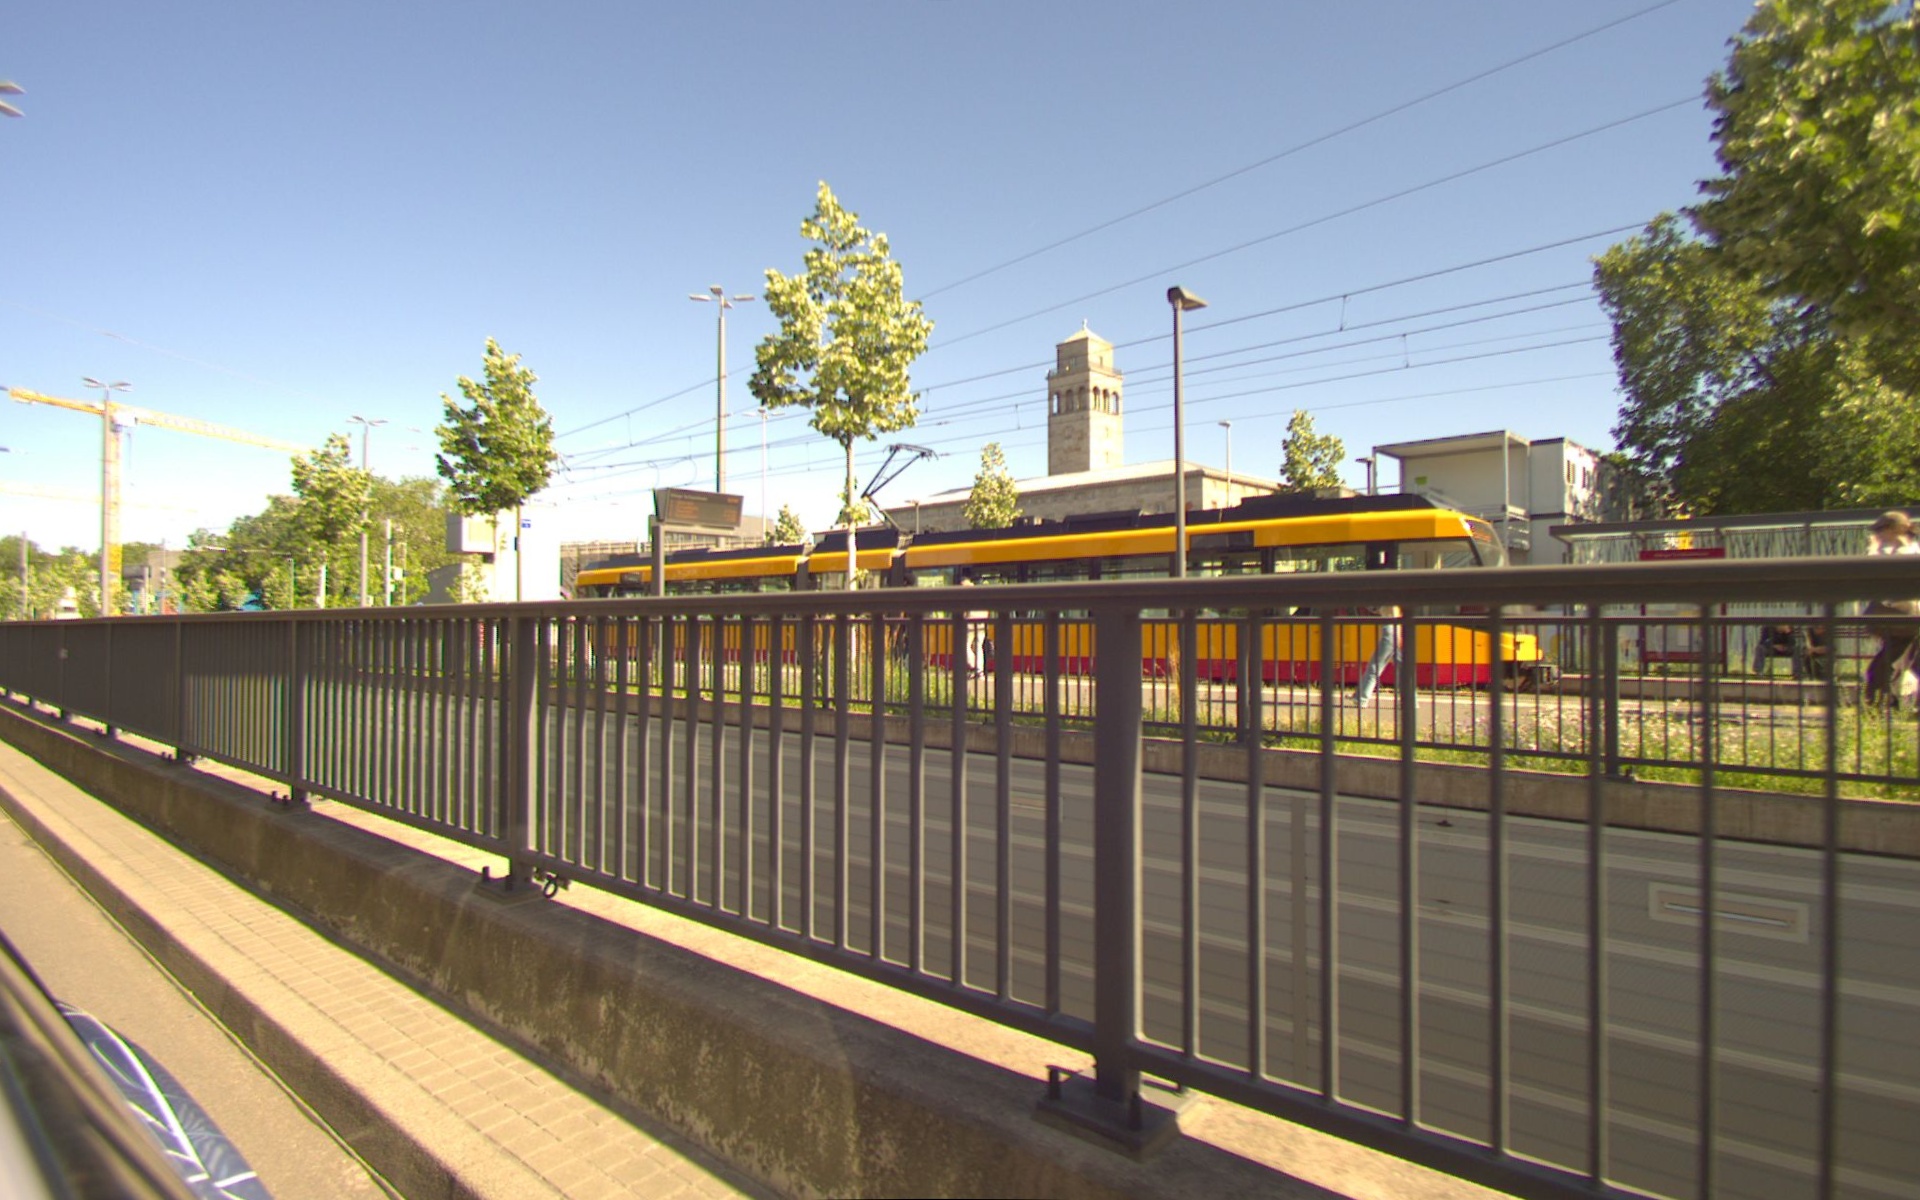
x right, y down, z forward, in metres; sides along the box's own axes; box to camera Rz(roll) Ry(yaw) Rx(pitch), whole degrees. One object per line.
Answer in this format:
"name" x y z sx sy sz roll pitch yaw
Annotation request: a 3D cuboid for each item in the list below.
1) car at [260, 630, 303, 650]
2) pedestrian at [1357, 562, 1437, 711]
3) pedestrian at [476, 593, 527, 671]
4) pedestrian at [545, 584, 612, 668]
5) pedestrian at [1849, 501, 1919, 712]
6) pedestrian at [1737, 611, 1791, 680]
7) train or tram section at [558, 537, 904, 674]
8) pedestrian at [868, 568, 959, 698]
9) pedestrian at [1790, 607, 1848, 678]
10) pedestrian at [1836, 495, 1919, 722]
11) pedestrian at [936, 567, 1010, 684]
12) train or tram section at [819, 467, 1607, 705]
"car" -54.573 3.201 81.336 4.832 1.573 1.971 -2 -2 45
"pedestrian" 4.668 0.378 10.809 0.587 1.524 0.641 -3 -1 38
"pedestrian" -10.834 0.749 23.902 0.958 1.788 0.696 -3 -1 38
"pedestrian" -8.419 0.572 22.321 1.187 1.788 0.865 -3 -1 38
"pedestrian" 8.593 0.061 8.926 1.074 1.824 0.665 -2 -2 41
"pedestrian" 13.684 0.770 17.226 0.682 1.138 0.649 -2 -2 39
"train or tram section" -7.365 0.265 30.080 13.066 3.334 2.841 -2 0 41
"pedestrian" -0.667 0.471 14.566 0.977 1.788 0.783 -3 -1 38
"pedestrian" 14.223 0.701 16.776 0.682 1.138 0.649 -2 -2 39
"pedestrian" 7.991 0.071 8.405 1.030 1.824 0.761 -2 -2 41
"pedestrian" 0.211 0.395 16.050 0.825 1.788 0.754 -3 -1 38
"train or tram section" 3.502 -0.071 20.554 15.958 3.346 2.818 -1 0 41
